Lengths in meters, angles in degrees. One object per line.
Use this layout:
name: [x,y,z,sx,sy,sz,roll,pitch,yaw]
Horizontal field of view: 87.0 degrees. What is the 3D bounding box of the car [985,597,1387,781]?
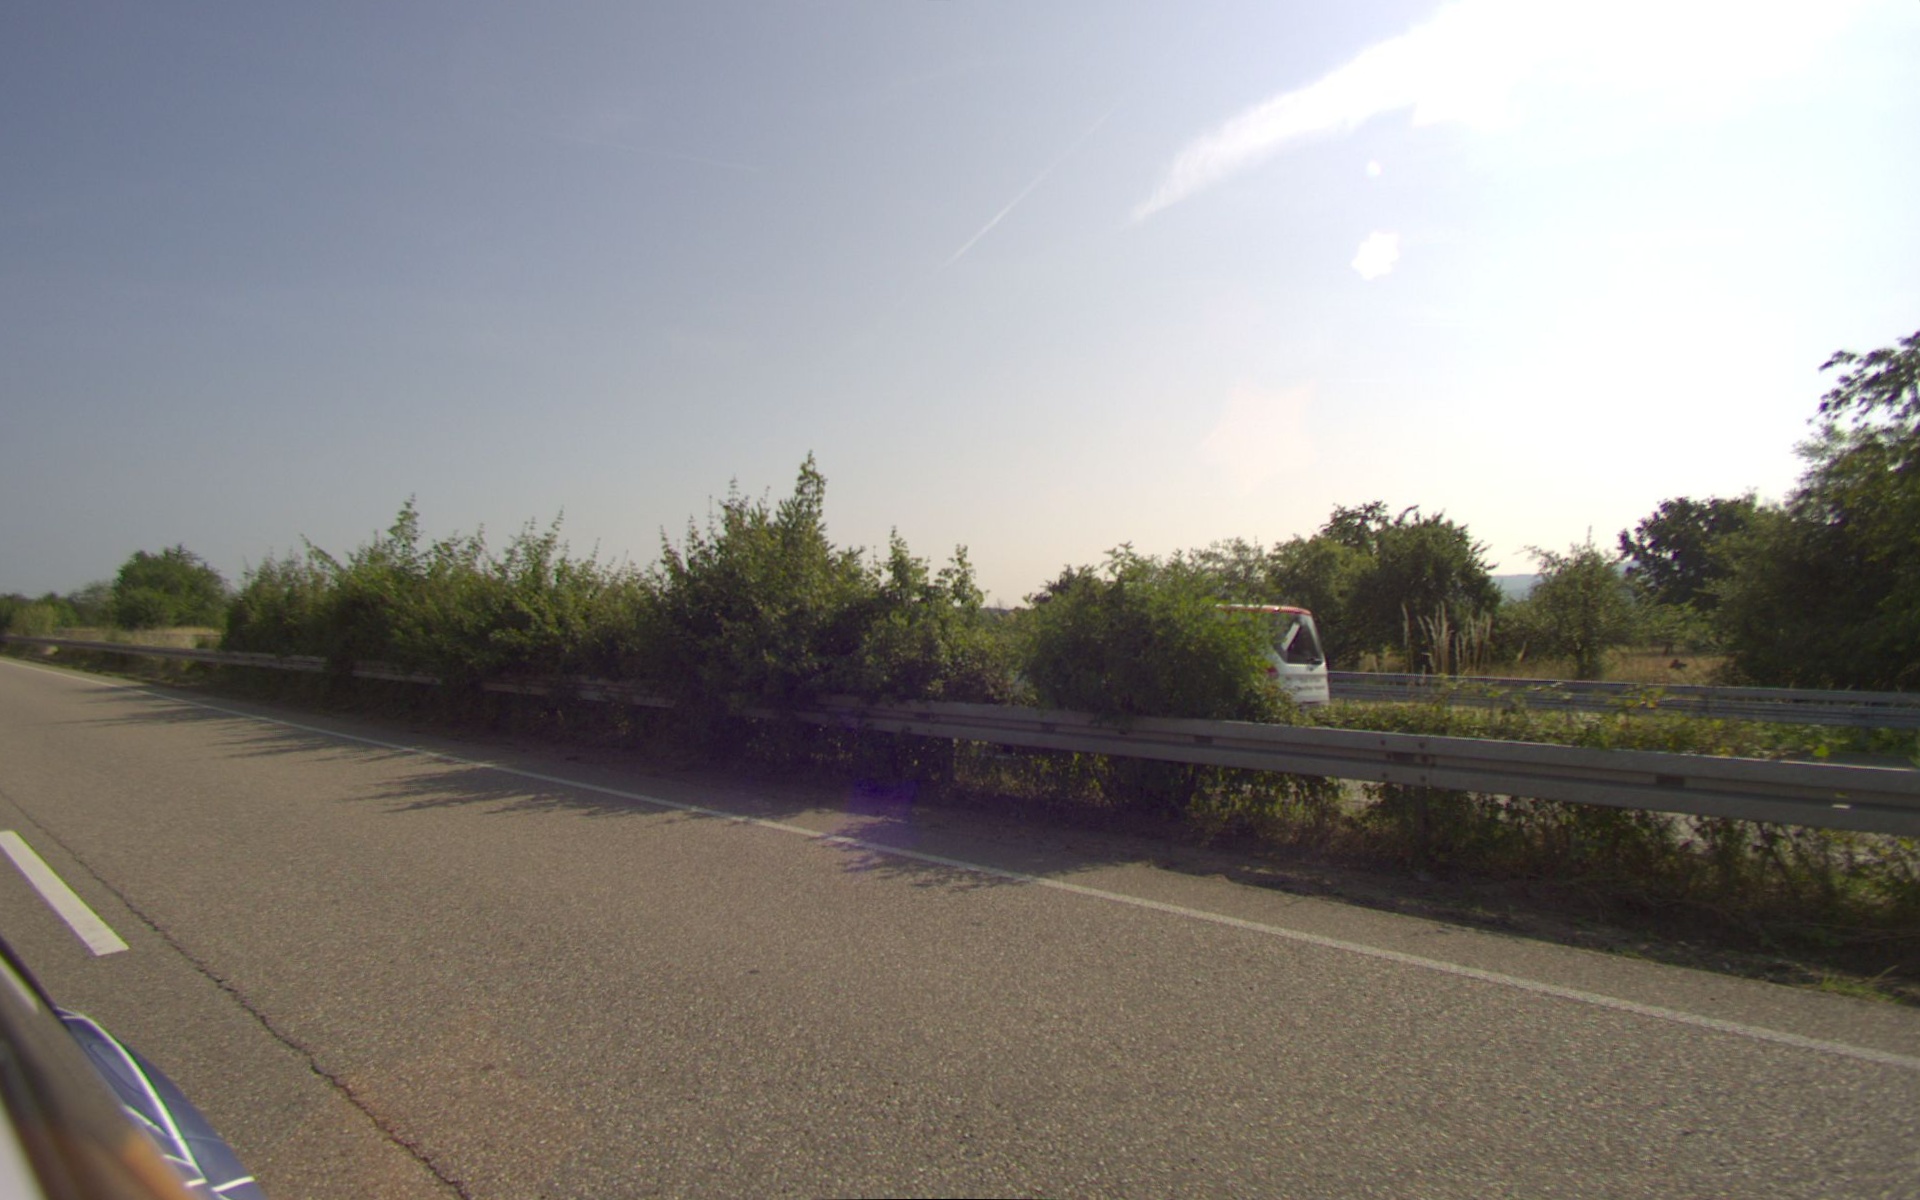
car: [2.332,0.841,11.068,3.998,1.654,1.643,-1,-1,41]
